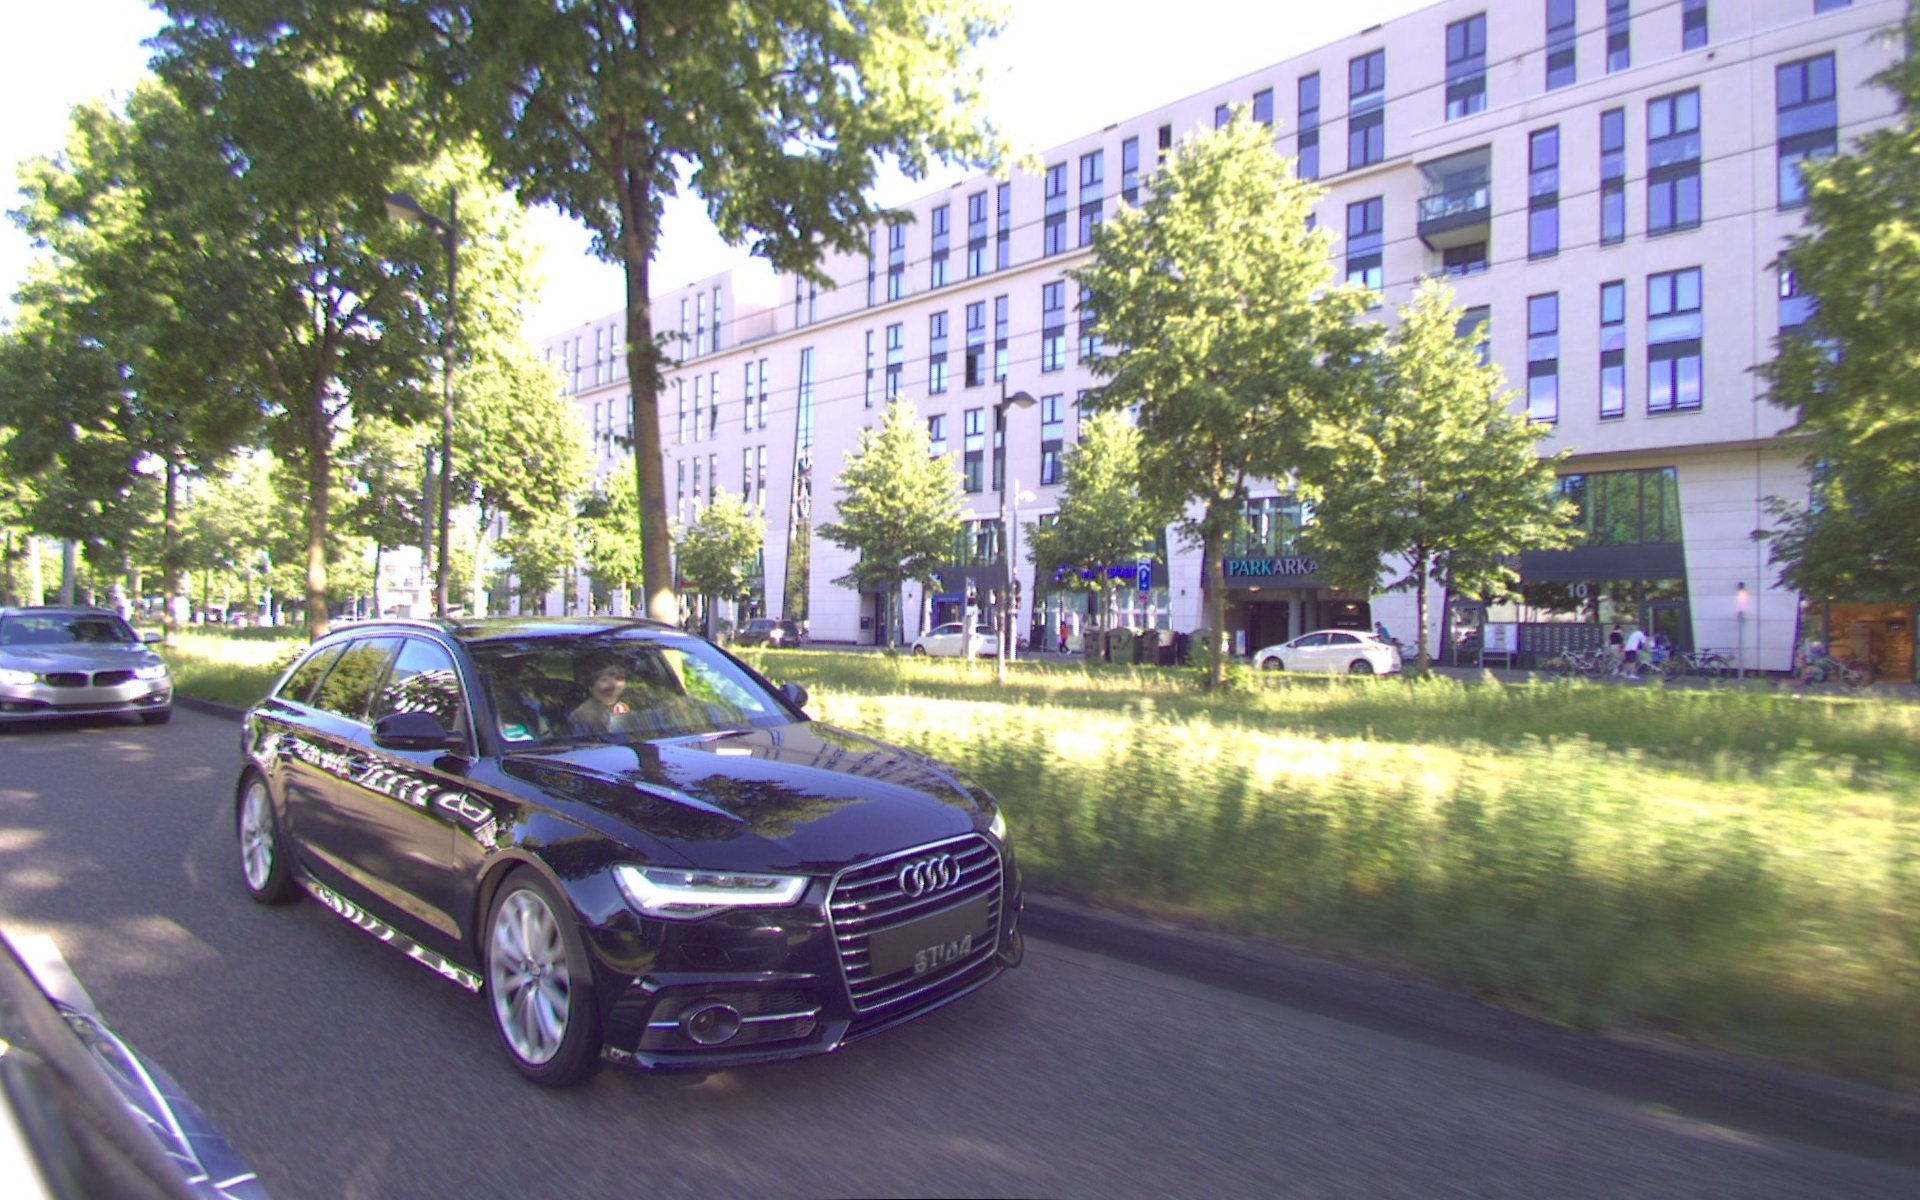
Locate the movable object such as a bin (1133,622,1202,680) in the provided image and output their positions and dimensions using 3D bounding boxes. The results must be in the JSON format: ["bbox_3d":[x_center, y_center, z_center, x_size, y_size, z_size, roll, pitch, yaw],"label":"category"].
[{"bbox_3d":[6.963,1.661,33.891,1.554,1.808,1.950,0,0,40],"label":"movable object such as a bin"}]

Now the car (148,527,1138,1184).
[{"bbox_3d":[-1.894,0.662,4.694,5.080,1.492,1.933,-2,-3,40],"label":"car"}]

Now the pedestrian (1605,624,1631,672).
[{"bbox_3d":[21.907,1.602,33.694,0.494,1.561,0.522,0,0,-7],"label":"pedestrian"}]

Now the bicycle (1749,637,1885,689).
[{"bbox_3d":[23.671,1.708,28.014,0.935,1.290,2.775,0,0,-41],"label":"bicycle"}]

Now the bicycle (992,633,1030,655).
[{"bbox_3d":[2.390,2.083,47.831,1.848,0.960,0.573,0,0,44],"label":"bicycle"}]

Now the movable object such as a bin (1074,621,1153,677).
[{"bbox_3d":[5.345,1.665,35.163,2.008,1.808,1.951,0,0,39],"label":"movable object such as a bin"}]

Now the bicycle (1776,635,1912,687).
[{"bbox_3d":[24.785,1.674,28.423,0.935,1.290,2.775,0,0,-41],"label":"bicycle"}]

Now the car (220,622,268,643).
[{"bbox_3d":[-55.638,2.505,78.631,4.452,1.452,1.974,0,0,40],"label":"car"}]

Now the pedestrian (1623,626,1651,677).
[{"bbox_3d":[21.203,1.609,31.690,0.494,1.561,0.522,0,0,-7],"label":"pedestrian"}]

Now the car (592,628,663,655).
[{"bbox_3d":[-18.820,2.333,57.213,4.332,1.424,1.706,-1,-2,38],"label":"car"}]

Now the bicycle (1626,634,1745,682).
[{"bbox_3d":[21.842,1.712,30.539,0.935,1.290,2.775,0,0,-41],"label":"bicycle"}]

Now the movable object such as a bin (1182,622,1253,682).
[{"bbox_3d":[8.331,1.657,32.718,1.554,1.808,1.950,0,0,40],"label":"movable object such as a bin"}]

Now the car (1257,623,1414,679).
[{"bbox_3d":[11.237,1.476,30.398,4.015,1.452,1.974,0,0,39],"label":"car"}]

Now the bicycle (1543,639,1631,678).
[{"bbox_3d":[19.929,1.846,32.224,2.369,1.145,0.859,0,0,32],"label":"bicycle"}]

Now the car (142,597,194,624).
[{"bbox_3d":[-73.806,0.953,94.300,6.021,2.399,2.481,0,0,38],"label":"car"}]

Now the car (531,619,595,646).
[{"bbox_3d":[-24.501,1.983,62.381,3.997,1.584,1.973,-1,-2,40],"label":"car"}]

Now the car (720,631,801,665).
[{"bbox_3d":[-9.665,2.276,48.820,4.269,1.491,1.542,-1,-1,41],"label":"car"}]

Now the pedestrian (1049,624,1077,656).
[{"bbox_3d":[4.898,1.882,48.252,1.024,1.479,0.939,0,0,32],"label":"pedestrian"}]

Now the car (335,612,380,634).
[{"bbox_3d":[-52.970,2.027,88.984,4.417,1.822,2.079,0,0,39],"label":"car"}]

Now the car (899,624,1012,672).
[{"bbox_3d":[-0.222,1.883,40.963,4.334,1.742,1.974,0,0,39],"label":"car"}]

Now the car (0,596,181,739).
[{"bbox_3d":[-11.807,0.747,13.216,4.276,1.590,1.862,0,0,42],"label":"car"}]

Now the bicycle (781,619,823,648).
[{"bbox_3d":[-8.968,1.871,57.294,3.034,1.557,0.611,0,0,44],"label":"bicycle"}]

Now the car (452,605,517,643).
[{"bbox_3d":[-26.193,1.285,55.727,4.002,2.029,1.971,0,0,44],"label":"car"}]

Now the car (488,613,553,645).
[{"bbox_3d":[-28.582,1.886,65.753,4.549,2.029,1.974,-1,-2,39],"label":"car"}]

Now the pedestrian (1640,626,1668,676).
[{"bbox_3d":[21.849,1.606,31.881,0.494,1.561,0.522,0,0,-7],"label":"pedestrian"}]
